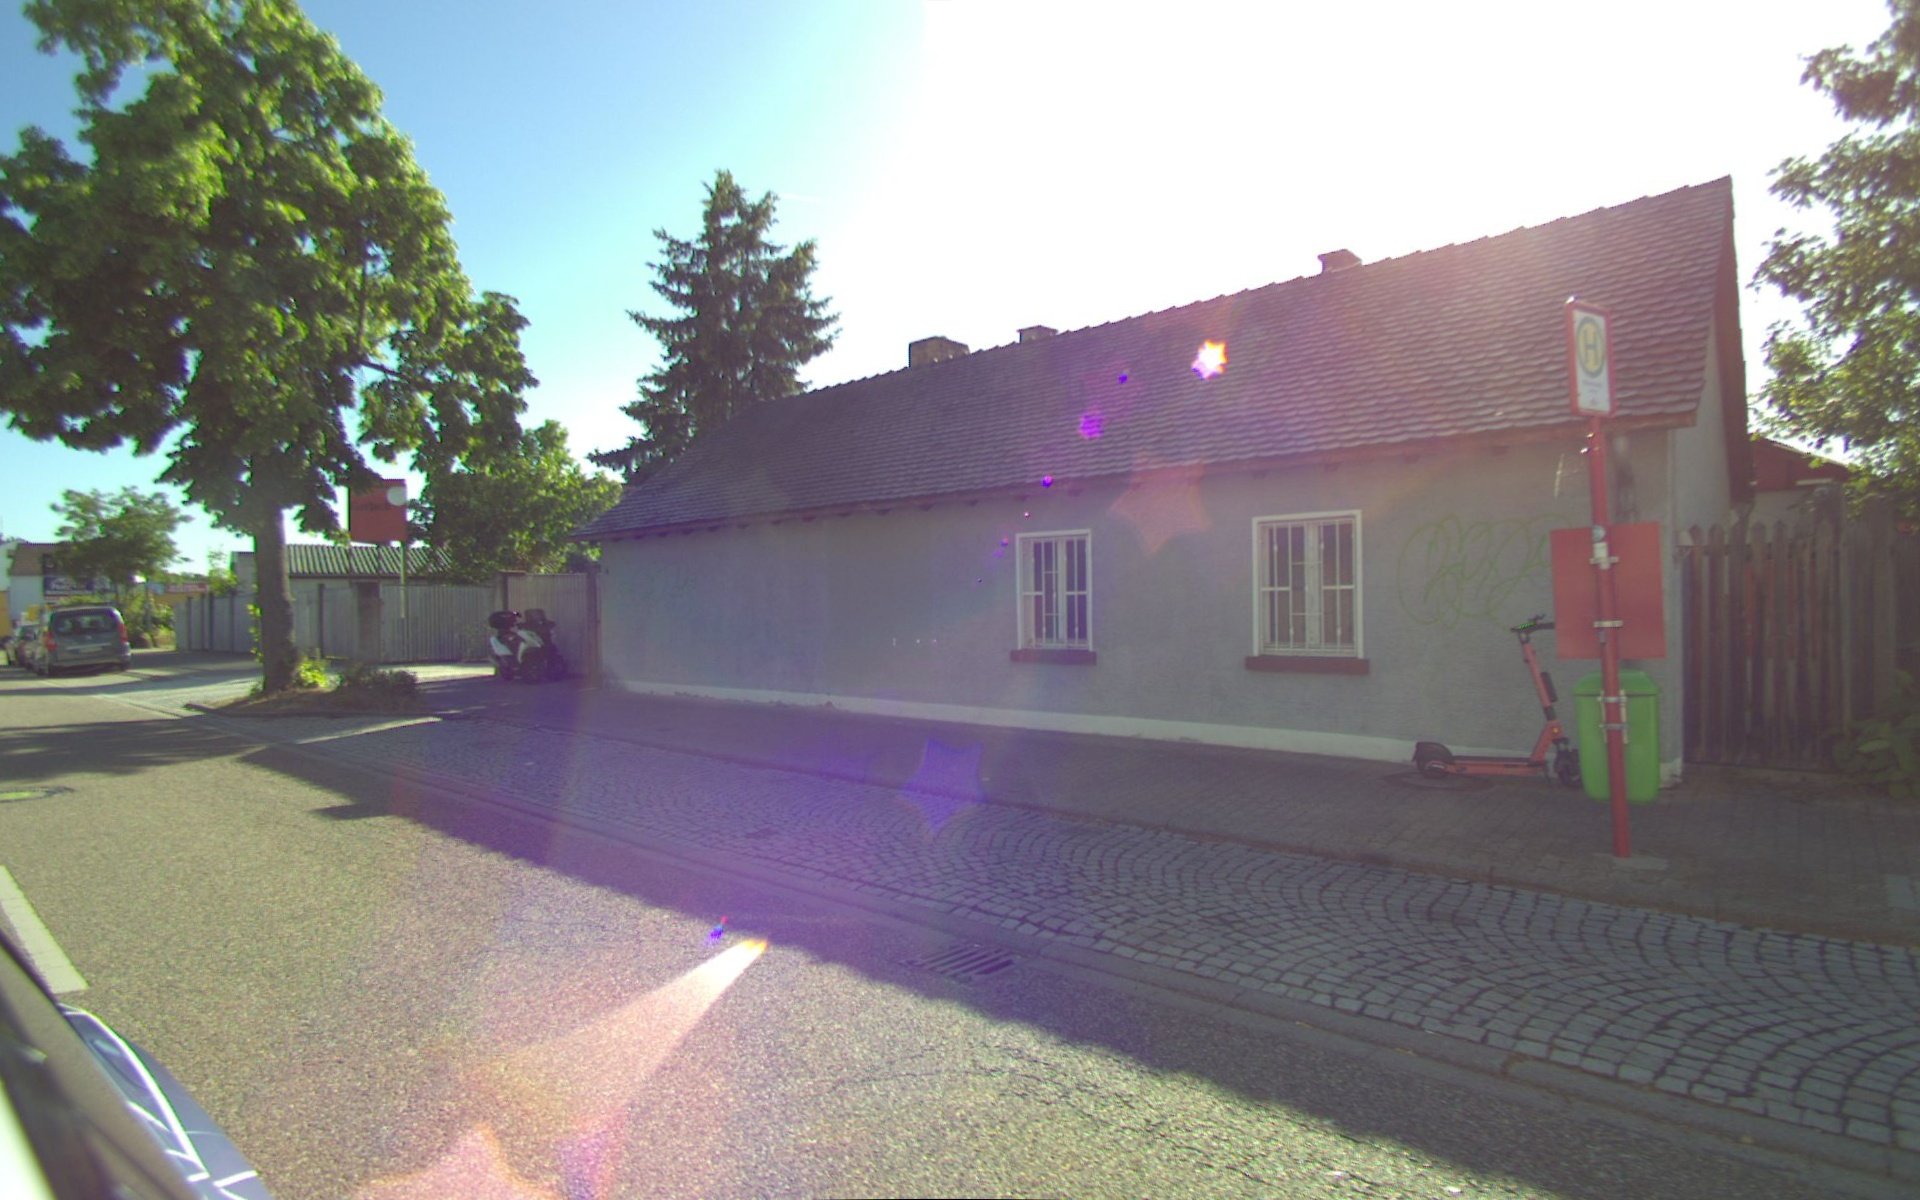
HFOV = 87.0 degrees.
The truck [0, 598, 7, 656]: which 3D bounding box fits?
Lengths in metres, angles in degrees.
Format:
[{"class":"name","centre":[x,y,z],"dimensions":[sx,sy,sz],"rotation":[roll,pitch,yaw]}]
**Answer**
[{"class":"truck","centre":[-48.151,1.319,49.177],"dimensions":[5.748,2.734,2.145],"rotation":[-1,1,42]}]

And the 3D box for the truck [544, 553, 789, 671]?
[{"class":"truck","centre":[-9.280,0.366,32.800],"dimensions":[2.898,3.365,7.341],"rotation":[-1,-1,37]}]

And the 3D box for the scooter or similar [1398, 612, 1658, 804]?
[{"class":"scooter or similar","centre":[4.037,0.737,7.321],"dimensions":[1.568,1.280,0.479],"rotation":[-1,-1,24]}]

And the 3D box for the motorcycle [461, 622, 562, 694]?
[{"class":"motorcycle","centre":[-8.493,1.058,19.100],"dimensions":[2.537,1.242,0.692],"rotation":[-1,1,41]}]

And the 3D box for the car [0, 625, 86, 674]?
[{"class":"car","centre":[-31.544,1.638,34.655],"dimensions":[4.921,1.459,1.757],"rotation":[-2,1,42]}]

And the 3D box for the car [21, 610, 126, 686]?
[{"class":"car","centre":[-24.638,1.269,28.058],"dimensions":[4.616,1.863,1.756],"rotation":[-1,1,44]}]

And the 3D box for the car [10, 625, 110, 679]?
[{"class":"car","centre":[-28.072,1.560,31.524],"dimensions":[4.613,1.459,1.757],"rotation":[-2,1,42]}]
